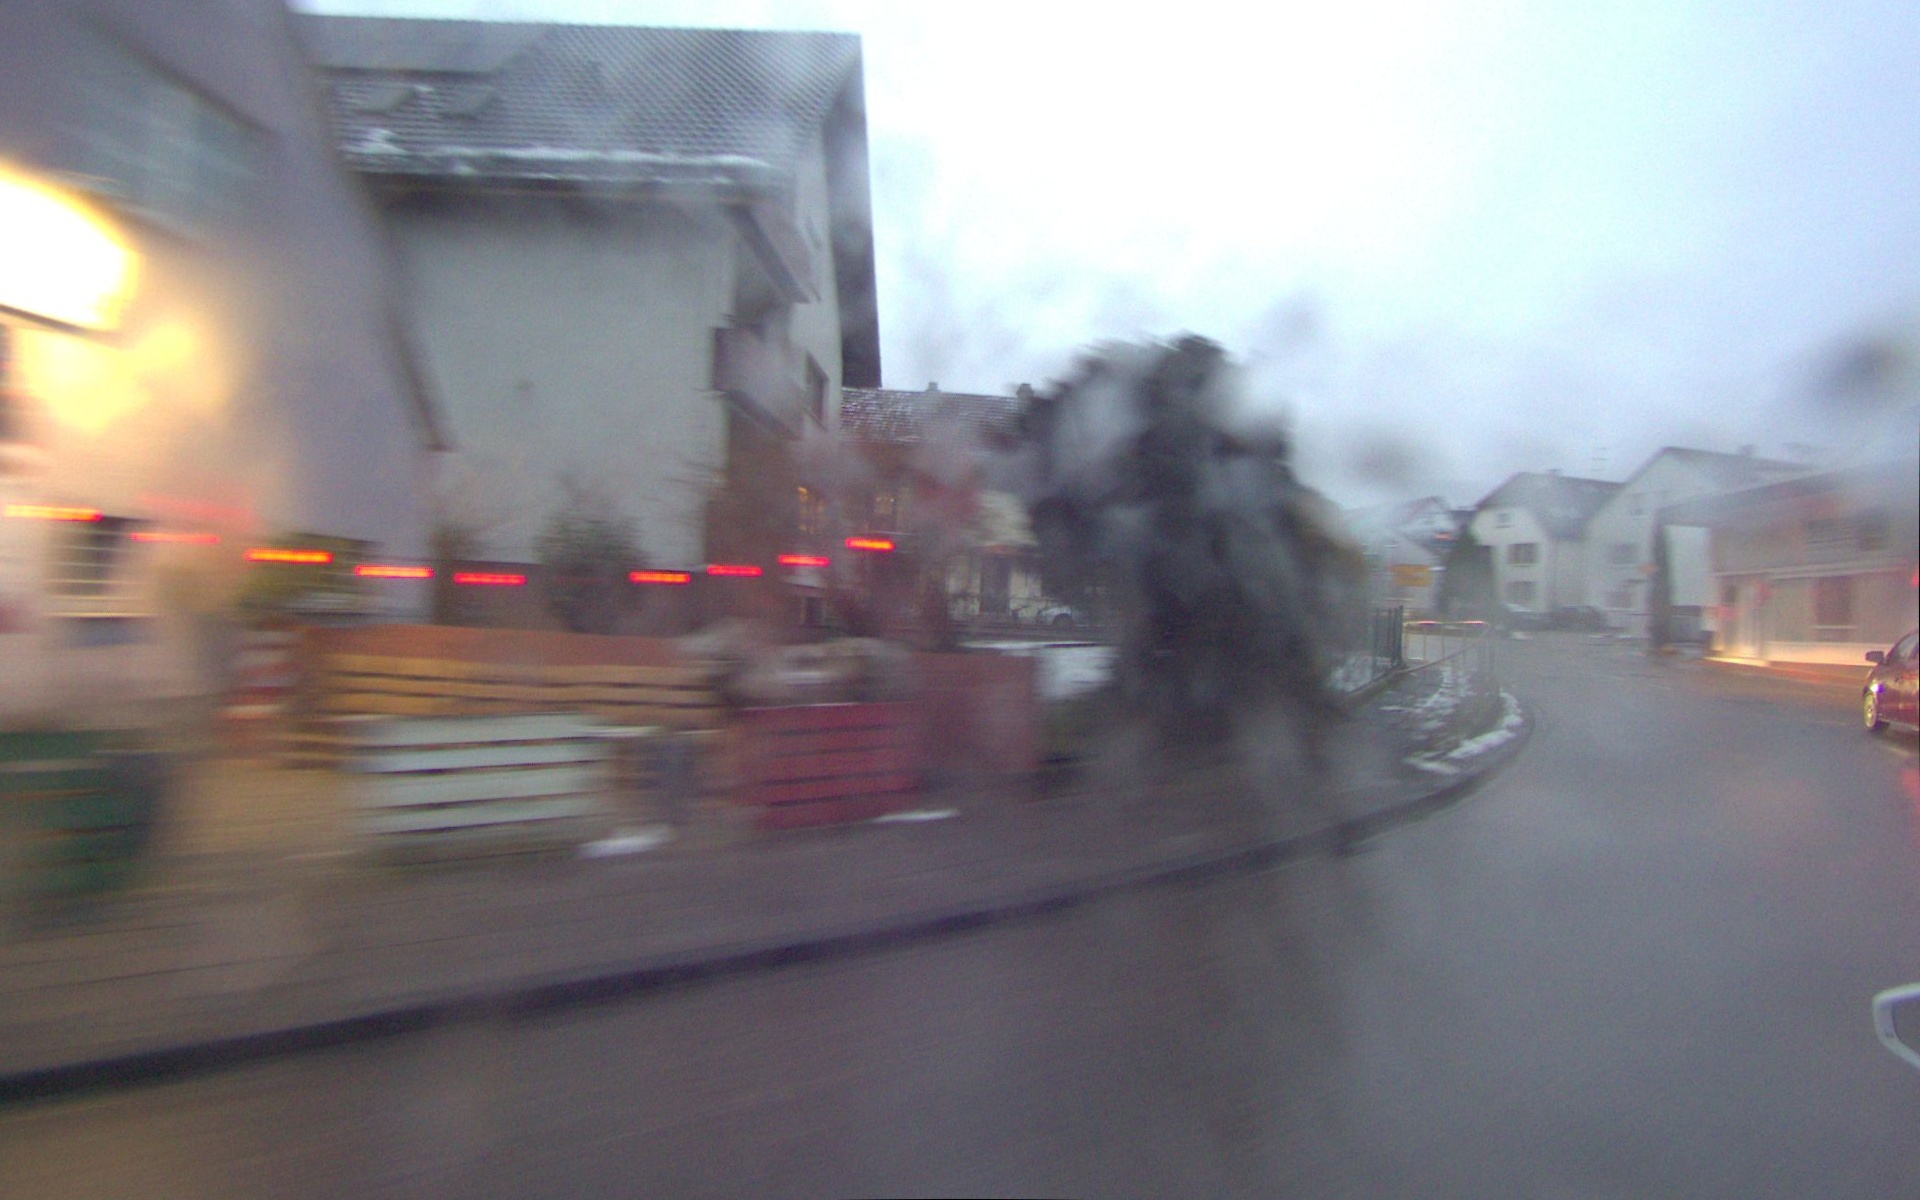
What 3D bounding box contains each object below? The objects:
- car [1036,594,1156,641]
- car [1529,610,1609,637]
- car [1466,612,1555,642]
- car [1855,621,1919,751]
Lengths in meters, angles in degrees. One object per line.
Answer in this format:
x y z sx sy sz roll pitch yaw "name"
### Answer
4.740 0.608 35.386 3.923 1.482 1.820 2 0 -3 "car"
37.377 1.399 61.787 1.787 1.587 3.983 -1 0 -19 "car"
32.083 1.528 58.693 1.787 1.650 4.532 -1 0 -19 "car"
12.461 1.031 12.349 1.524 1.485 3.690 1 0 32 "car"
